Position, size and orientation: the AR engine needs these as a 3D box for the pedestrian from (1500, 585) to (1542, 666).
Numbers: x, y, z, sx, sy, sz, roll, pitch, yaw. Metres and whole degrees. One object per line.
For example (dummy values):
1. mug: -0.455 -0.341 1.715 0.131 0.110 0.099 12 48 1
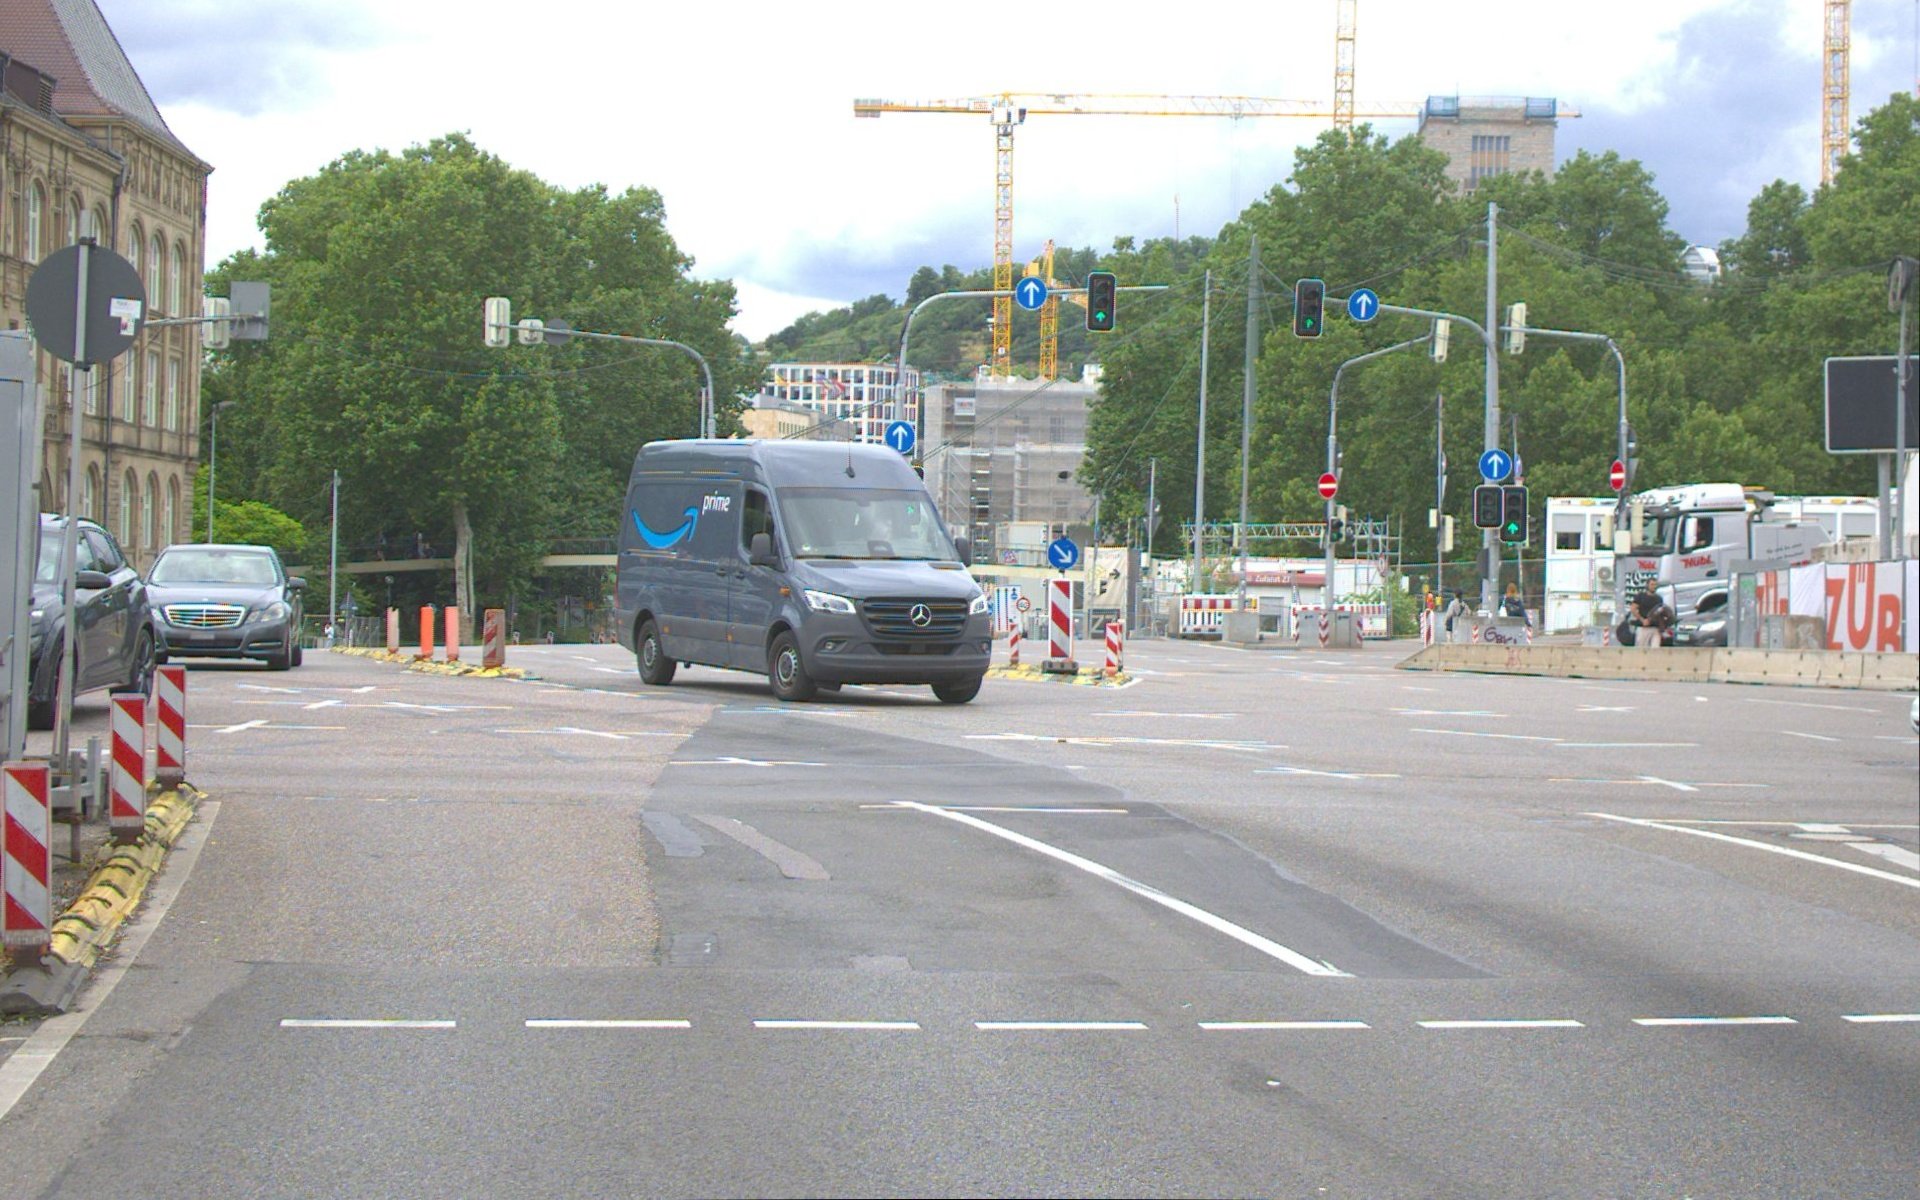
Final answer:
1. pedestrian: 11.796 0.534 72.315 0.622 1.683 0.710 2 1 29

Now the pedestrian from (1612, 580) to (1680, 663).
1. pedestrian: 11.647 0.363 58.386 0.796 1.373 0.905 1 1 -12

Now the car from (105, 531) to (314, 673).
1. car: -8.590 -0.015 39.643 1.706 1.508 4.289 1 1 -4

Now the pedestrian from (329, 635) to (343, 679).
1. pedestrian: -28.778 2.640 158.561 0.524 2.007 0.567 1 1 0

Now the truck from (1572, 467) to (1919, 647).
1. truck: 21.377 -0.967 82.004 13.022 4.027 3.952 1 1 -20

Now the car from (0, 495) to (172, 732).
1. car: -7.419 0.027 26.390 1.878 1.664 4.445 1 1 -3

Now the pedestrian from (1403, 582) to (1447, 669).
1. pedestrian: 9.145 0.503 67.617 0.729 1.683 0.678 1 1 -1

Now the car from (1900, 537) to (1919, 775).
1. car: 9.273 0.473 24.756 4.438 1.730 1.881 2 1 32

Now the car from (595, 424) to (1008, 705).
1. car: -1.746 -0.397 34.831 2.056 2.585 6.015 1 1 -24
